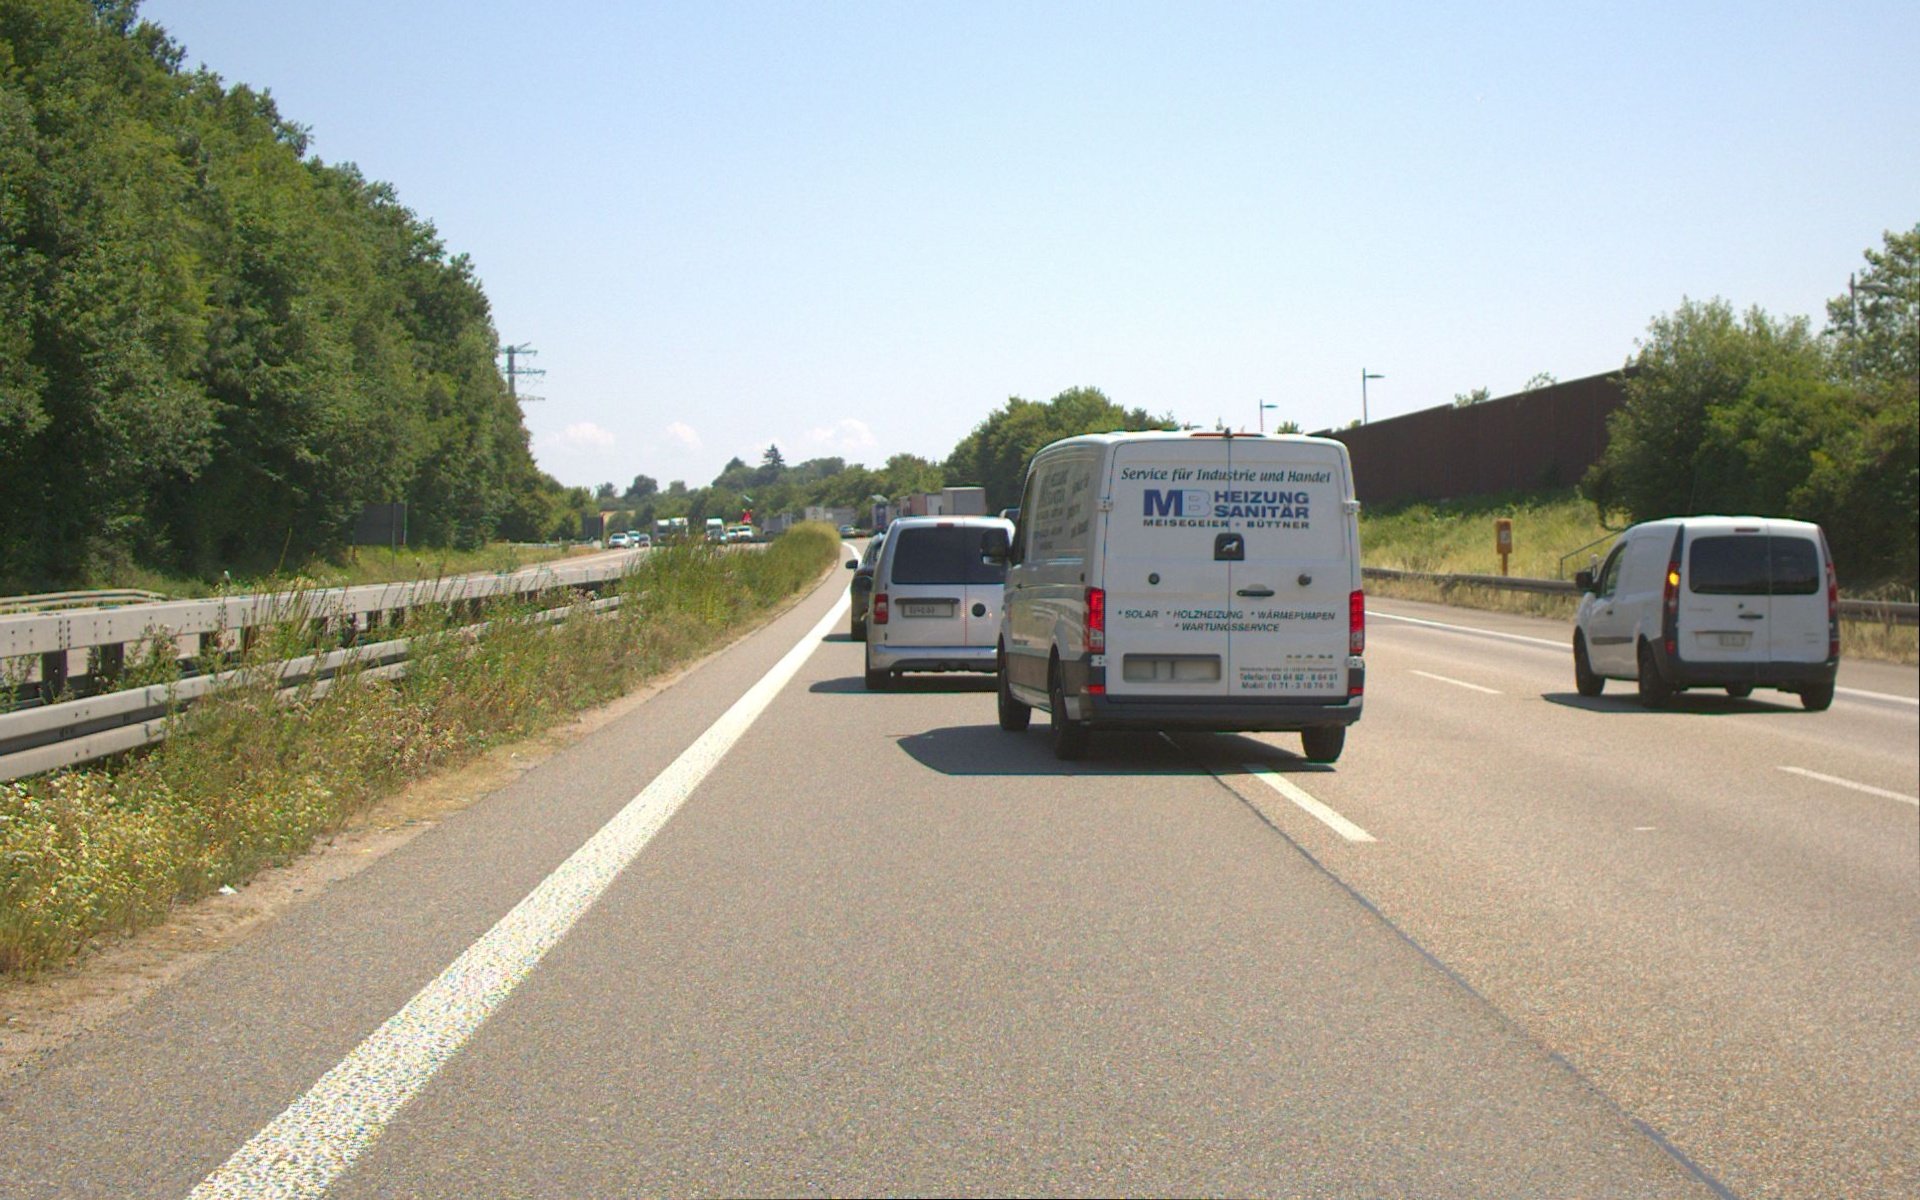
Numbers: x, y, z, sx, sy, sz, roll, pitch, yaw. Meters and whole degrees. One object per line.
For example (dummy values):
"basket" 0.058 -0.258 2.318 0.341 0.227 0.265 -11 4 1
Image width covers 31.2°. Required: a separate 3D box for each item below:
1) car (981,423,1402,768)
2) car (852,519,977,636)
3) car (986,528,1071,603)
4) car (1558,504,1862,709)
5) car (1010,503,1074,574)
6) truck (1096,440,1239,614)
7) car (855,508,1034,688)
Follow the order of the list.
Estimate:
"car" 1.543 -0.055 25.267 2.181 2.246 5.364 0 1 -6
"car" -0.666 -0.360 52.800 1.745 1.695 4.088 -1 1 1
"car" 1.583 -0.793 80.003 1.902 1.666 4.088 -1 1 1
"car" 7.192 0.036 33.388 1.950 1.831 4.178 -1 1 -1
"car" 2.241 -1.675 94.253 1.674 1.885 4.088 -1 1 1
"truck" 6.265 -2.167 106.040 3.788 4.982 12.518 1 1 1
"car" -0.116 -0.039 36.179 1.745 1.758 4.088 -1 1 1
